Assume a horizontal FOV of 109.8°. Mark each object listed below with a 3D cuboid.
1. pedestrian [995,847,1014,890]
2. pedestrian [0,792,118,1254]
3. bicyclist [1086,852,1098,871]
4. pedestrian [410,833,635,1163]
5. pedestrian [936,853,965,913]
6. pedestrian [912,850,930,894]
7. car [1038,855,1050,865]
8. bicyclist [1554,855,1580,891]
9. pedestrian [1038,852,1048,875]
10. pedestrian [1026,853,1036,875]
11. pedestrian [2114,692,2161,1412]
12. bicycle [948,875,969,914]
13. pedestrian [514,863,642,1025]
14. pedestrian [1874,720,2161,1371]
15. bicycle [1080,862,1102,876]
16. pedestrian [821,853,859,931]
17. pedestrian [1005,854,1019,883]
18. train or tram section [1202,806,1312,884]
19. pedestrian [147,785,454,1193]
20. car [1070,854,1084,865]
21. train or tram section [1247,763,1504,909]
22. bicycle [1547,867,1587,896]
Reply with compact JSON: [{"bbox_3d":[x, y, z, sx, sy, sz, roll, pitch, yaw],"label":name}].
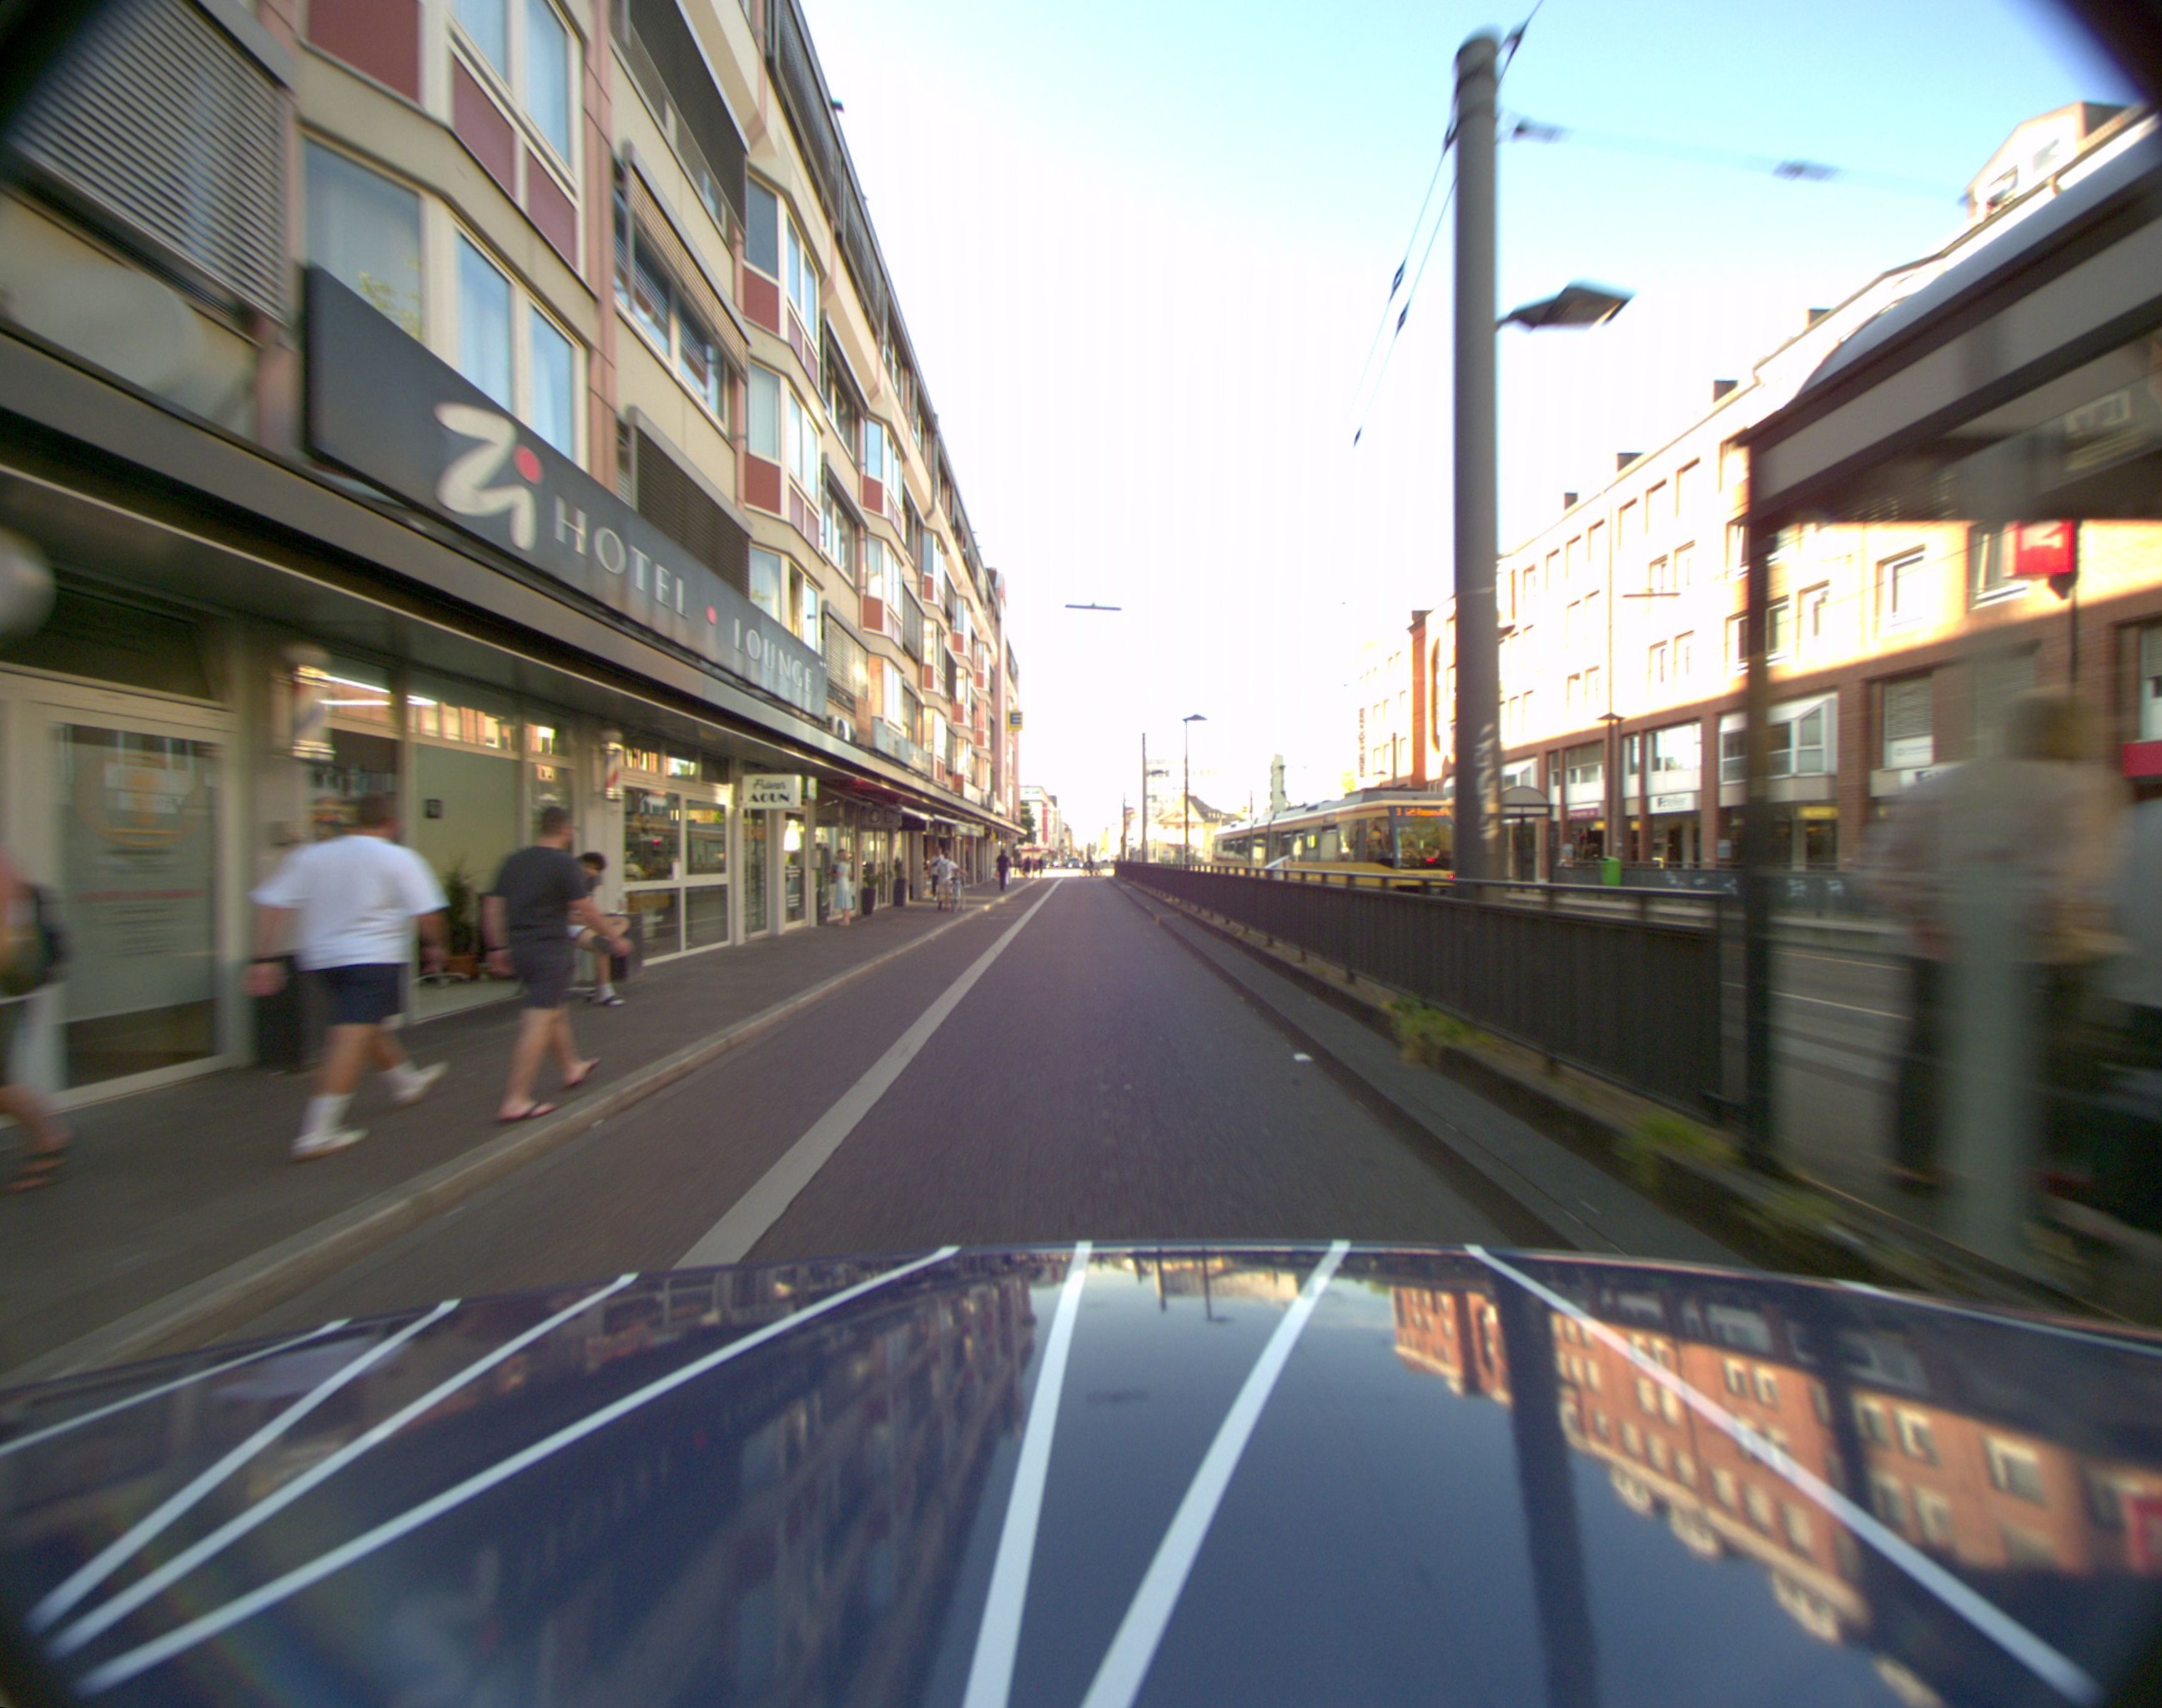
[{"bbox_3d":[-3.347,0.645,33.497,0.676,1.850,0.992,1,1,2],"label":"pedestrian"},{"bbox_3d":[-4.416,0.640,2.740,0.746,1.717,0.814,-2,1,1],"label":"pedestrian"},{"bbox_3d":[0.784,0.543,55.821,0.750,1.372,0.901,-1,1,-5],"label":"bicyclist"},{"bbox_3d":[-3.178,0.761,4.402,0.669,1.719,0.810,2,1,-1],"label":"pedestrian"},{"bbox_3d":[-3.609,0.778,21.059,0.664,1.621,0.705,2,1,-1],"label":"pedestrian"},{"bbox_3d":[-5.975,0.662,28.338,0.517,1.623,0.522,-1,1,5],"label":"pedestrian"},{"bbox_3d":[-5.582,0.875,115.470,1.772,1.458,3.812,-1,0,-3],"label":"car"},{"bbox_3d":[20.008,0.787,31.287,0.507,1.458,0.841,0,1,0],"label":"bicyclist"},{"bbox_3d":[-3.016,0.759,60.525,0.680,1.832,0.606,-2,1,-12],"label":"pedestrian"},{"bbox_3d":[-3.664,0.742,55.728,0.709,1.604,0.495,1,2,-1],"label":"pedestrian"},{"bbox_3d":[2.550,0.430,1.424,0.425,1.564,0.592,-1,1,0],"label":"pedestrian"},{"bbox_3d":[-3.390,1.106,21.058,0.303,0.984,1.760,0,0,-1],"label":"bicycle"},{"bbox_3d":[-4.859,0.839,7.384,0.740,1.463,0.707,2,1,1],"label":"pedestrian"},{"bbox_3d":[2.586,0.461,2.047,0.425,1.564,0.447,-1,1,0],"label":"pedestrian"},{"bbox_3d":[0.707,1.117,55.860,1.592,1.027,0.418,-1,1,-6],"label":"bicycle"},{"bbox_3d":[-4.995,0.768,15.749,0.602,1.581,0.553,0,1,0],"label":"pedestrian"},{"bbox_3d":[-3.771,0.793,41.583,0.667,1.512,0.789,2,1,-1],"label":"pedestrian"},{"bbox_3d":[9.414,-0.449,42.908,2.981,3.623,13.943,-2,0,0],"label":"train or tram section"},{"bbox_3d":[-3.821,0.608,3.791,0.707,1.809,0.763,2,1,1],"label":"pedestrian"},{"bbox_3d":[-0.630,0.721,106.621,1.772,1.458,3.812,-1,0,-3],"label":"car"},{"bbox_3d":[9.357,-0.400,27.742,2.981,3.623,16.486,-2,0,0],"label":"train or tram section"},{"bbox_3d":[20.013,1.125,31.335,0.507,1.108,1.814,0,0,0],"label":"bicycle"}]
